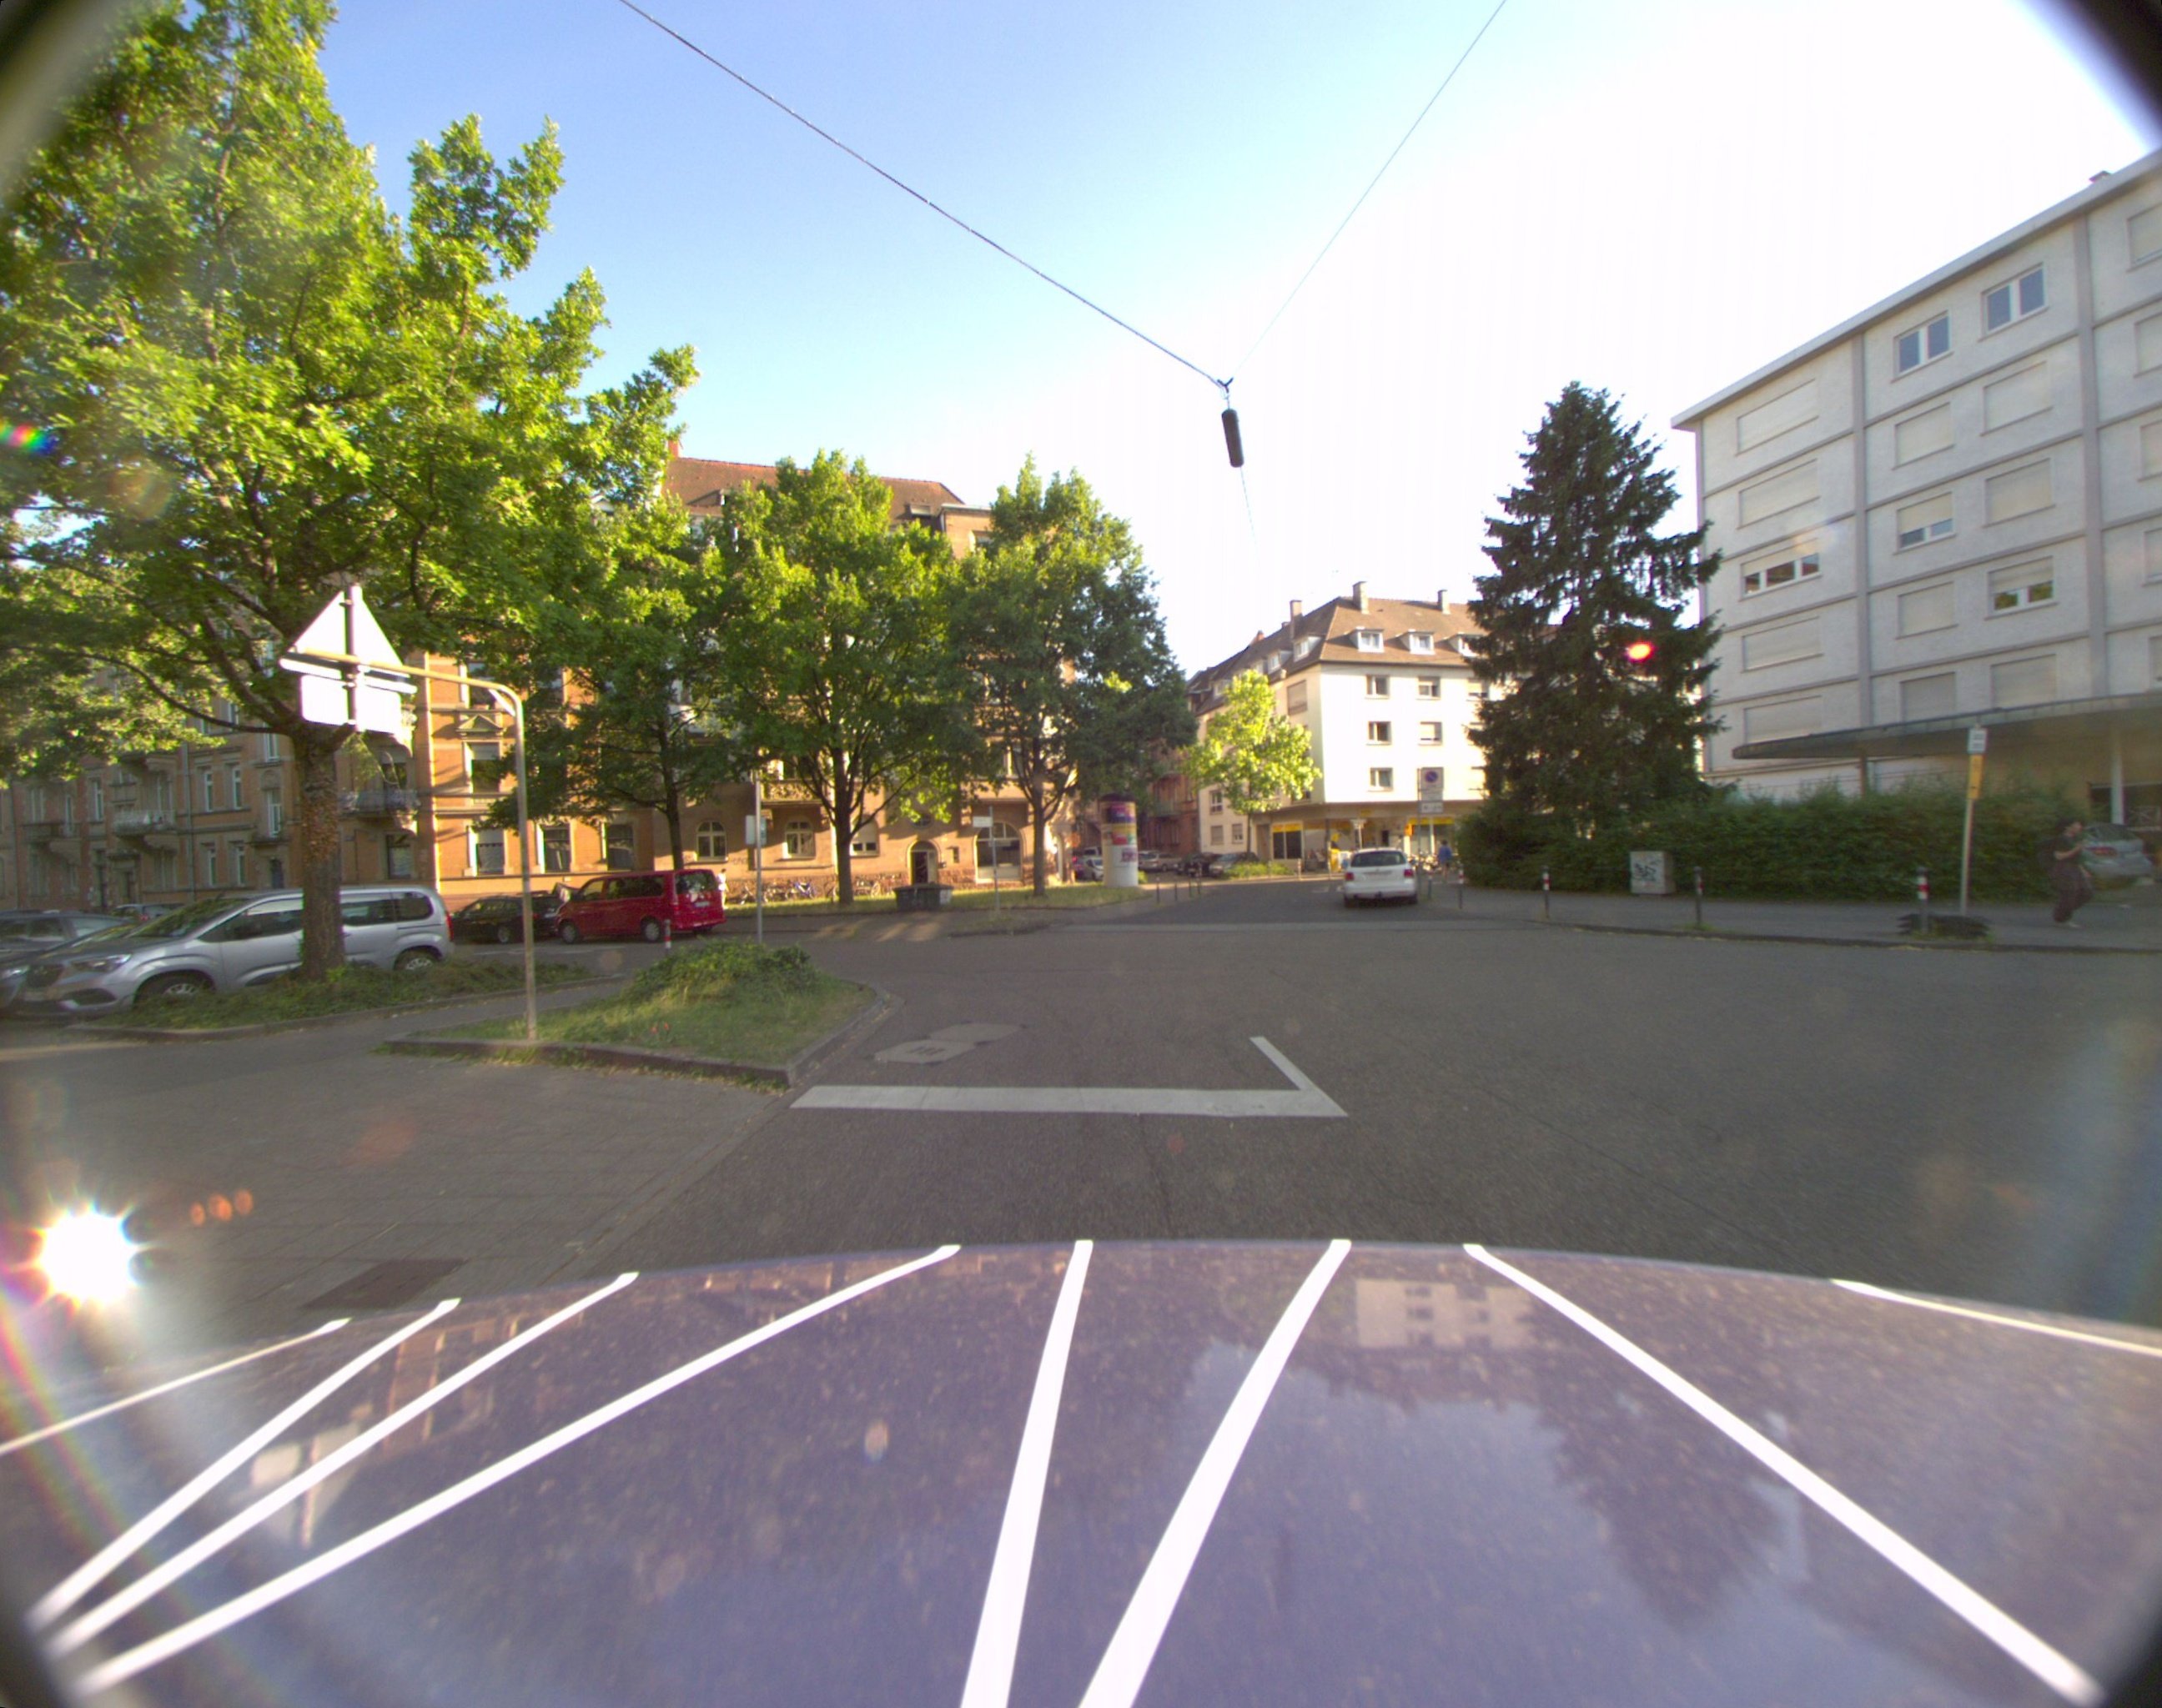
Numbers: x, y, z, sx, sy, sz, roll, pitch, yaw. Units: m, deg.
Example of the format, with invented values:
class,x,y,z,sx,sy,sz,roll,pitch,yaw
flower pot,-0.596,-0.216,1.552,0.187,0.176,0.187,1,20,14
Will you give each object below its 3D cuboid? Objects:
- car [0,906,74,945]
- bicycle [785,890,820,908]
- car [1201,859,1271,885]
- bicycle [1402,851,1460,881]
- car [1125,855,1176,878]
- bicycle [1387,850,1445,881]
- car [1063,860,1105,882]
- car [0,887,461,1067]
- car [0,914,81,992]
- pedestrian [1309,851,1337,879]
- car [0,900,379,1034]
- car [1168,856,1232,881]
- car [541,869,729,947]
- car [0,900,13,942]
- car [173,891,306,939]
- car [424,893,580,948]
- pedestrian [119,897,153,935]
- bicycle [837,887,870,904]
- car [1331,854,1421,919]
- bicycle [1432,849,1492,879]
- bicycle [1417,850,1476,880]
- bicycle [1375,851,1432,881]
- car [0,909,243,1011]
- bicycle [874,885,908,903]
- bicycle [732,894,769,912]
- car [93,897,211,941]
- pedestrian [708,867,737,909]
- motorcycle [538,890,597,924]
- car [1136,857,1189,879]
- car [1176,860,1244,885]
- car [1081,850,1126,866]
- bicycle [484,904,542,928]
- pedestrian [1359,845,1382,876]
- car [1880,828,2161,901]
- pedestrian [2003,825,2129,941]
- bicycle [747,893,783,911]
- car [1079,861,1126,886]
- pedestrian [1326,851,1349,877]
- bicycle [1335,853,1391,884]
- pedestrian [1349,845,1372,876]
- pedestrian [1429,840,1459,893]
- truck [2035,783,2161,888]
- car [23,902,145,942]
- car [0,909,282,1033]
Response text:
class,x,y,z,sx,sy,sz,roll,pitch,yaw
car,-46.227,3.111,32.998,3.880,1.430,1.771,-3,2,19
bicycle,-13.150,2.126,35.940,1.511,0.728,0.368,-2,0,-17
car,9.560,1.105,46.793,4.006,1.391,1.869,-2,0,-32
bicycle,18.247,0.576,39.699,0.881,1.437,3.375,-2,2,-12
car,5.594,0.989,61.082,4.008,1.626,1.868,-2,-1,-44
bicycle,17.328,0.556,39.411,0.881,1.437,3.375,-2,2,-12
car,0.155,1.152,51.425,1.874,1.391,3.996,-2,0,-14
car,-12.519,1.571,11.412,1.946,1.903,4.560,-2,0,21
car,-24.343,2.181,15.273,1.995,1.563,4.723,-2,0,21
pedestrian,14.716,0.655,46.194,1.215,1.656,0.963,-2,0,-15
car,-14.989,1.687,12.539,1.946,1.563,4.560,-2,0,21
car,8.200,0.993,52.245,4.006,1.559,1.869,-2,0,-30
car,-12.638,1.534,21.565,4.763,1.923,1.783,-3,2,18
car,-51.595,3.176,34.681,4.715,1.872,1.915,-3,2,19
car,-30.989,2.248,28.002,3.874,1.467,1.691,-3,2,17
car,-17.887,2.065,23.485,4.261,1.425,1.784,-3,2,21
pedestrian,-44.328,2.923,35.650,0.720,1.708,0.676,-2,2,20
bicycle,-11.028,2.020,36.802,1.511,0.728,0.368,-2,0,-17
car,7.806,0.789,20.089,1.919,1.442,4.302,-4,-1,22
bicycle,20.005,0.501,40.034,0.881,1.437,3.375,-2,2,-12
bicycle,19.099,0.526,39.854,0.881,1.437,3.375,-2,2,-12
bicycle,16.393,0.606,38.780,0.881,1.437,3.376,-2,0,-12
car,-19.604,1.989,14.409,1.946,1.563,4.560,-2,0,21
bicycle,-9.301,1.949,37.199,1.511,0.728,0.368,-4,1,-17
bicycle,-15.350,2.264,35.281,1.511,0.728,0.368,-2,0,-17
car,-36.449,2.545,29.832,3.701,1.467,1.691,-3,2,19
pedestrian,-15.495,1.461,32.863,0.912,1.708,0.674,-4,2,-13
motorcycle,-22.442,2.295,33.243,1.900,1.345,0.809,-3,0,-17
car,6.256,1.039,57.952,4.008,1.496,1.868,-2,-1,-44
car,8.310,1.176,48.926,4.006,1.391,1.869,-2,0,-32
car,2.158,0.387,71.651,4.008,1.391,1.868,-2,-1,-44
bicycle,-24.503,2.671,32.820,1.900,0.843,0.525,-3,0,-17
pedestrian,17.483,0.398,45.863,0.891,1.864,0.851,-2,0,-15
car,22.866,0.257,18.650,2.000,1.523,3.996,-2,0,-12
pedestrian,15.327,0.442,11.854,0.869,1.726,0.832,-2,1,18
bicycle,-14.590,2.230,35.106,1.511,0.728,0.368,-2,0,-17
car,1.271,1.195,47.063,1.874,1.391,3.996,-2,0,-14
pedestrian,15.848,0.626,46.893,0.964,1.560,0.890,-2,0,-14
bicycle,14.068,0.687,38.053,0.881,1.437,3.376,-2,0,-12
pedestrian,17.155,0.390,46.631,0.891,1.864,0.851,-2,0,-15
pedestrian,14.033,0.469,29.374,0.861,2.002,0.987,-2,0,18
truck,27.042,-0.487,18.079,2.001,2.519,4.966,-2,0,-15
car,-41.393,2.835,31.552,4.281,1.376,1.771,-3,2,20
car,-17.446,1.960,13.229,1.946,1.681,4.454,-2,0,13
